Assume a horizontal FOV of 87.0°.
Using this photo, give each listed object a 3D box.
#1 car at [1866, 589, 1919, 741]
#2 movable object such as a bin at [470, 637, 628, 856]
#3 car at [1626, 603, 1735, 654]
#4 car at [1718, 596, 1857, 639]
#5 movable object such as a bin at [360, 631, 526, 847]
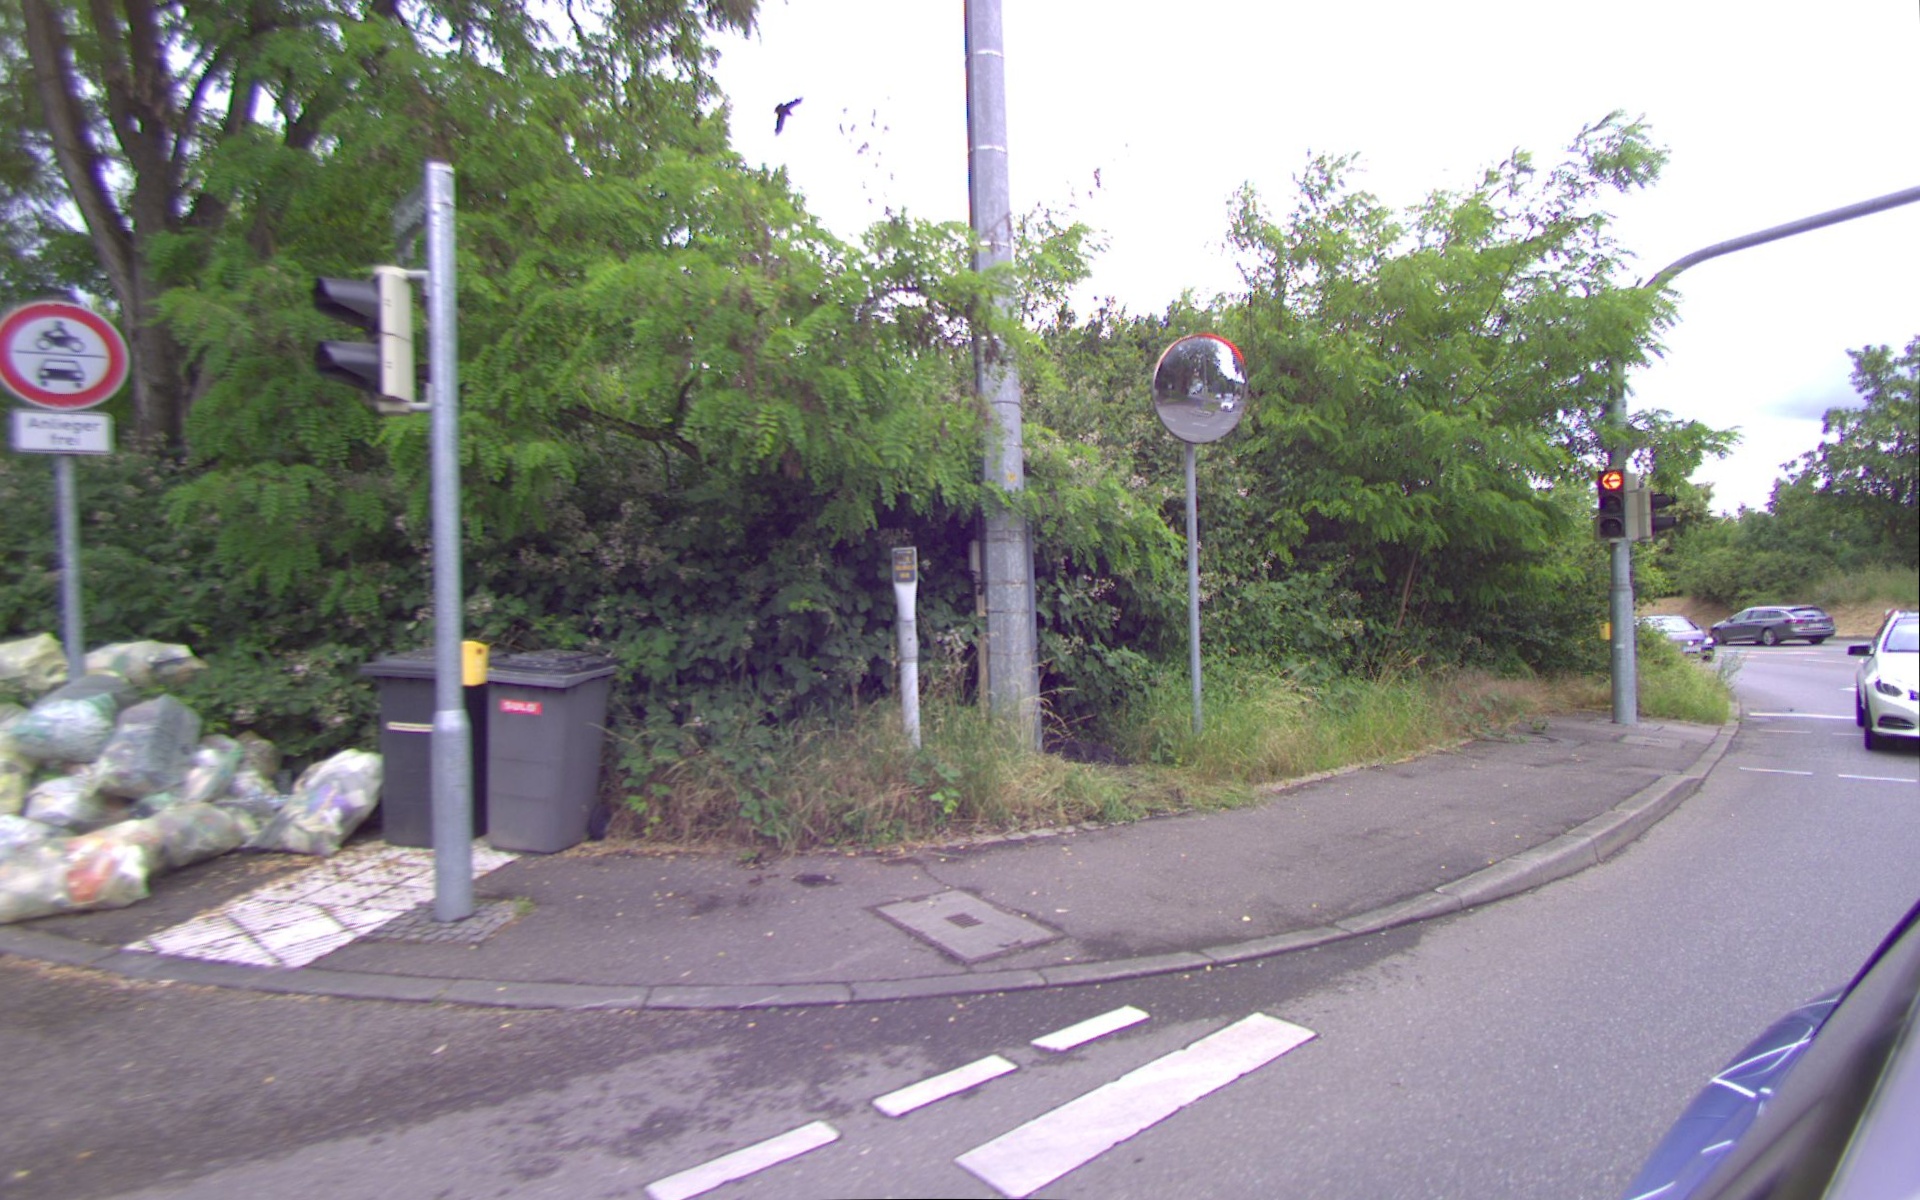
[{"bbox_3d":[11.122,0.604,10.683,3.932,1.440,1.885,-1,0,-42],"label":"car"},{"bbox_3d":[-2.292,0.788,5.698,0.566,1.129,0.642,-1,-1,9],"label":"movable object such as a bin"},{"bbox_3d":[23.698,0.909,33.434,1.799,1.564,3.705,-1,0,17],"label":"car"},{"bbox_3d":[31.103,0.675,38.232,1.739,1.438,4.415,-3,-2,4],"label":"car"},{"bbox_3d":[-2.915,0.754,5.749,0.566,1.129,0.642,-1,-1,9],"label":"movable object such as a bin"}]
